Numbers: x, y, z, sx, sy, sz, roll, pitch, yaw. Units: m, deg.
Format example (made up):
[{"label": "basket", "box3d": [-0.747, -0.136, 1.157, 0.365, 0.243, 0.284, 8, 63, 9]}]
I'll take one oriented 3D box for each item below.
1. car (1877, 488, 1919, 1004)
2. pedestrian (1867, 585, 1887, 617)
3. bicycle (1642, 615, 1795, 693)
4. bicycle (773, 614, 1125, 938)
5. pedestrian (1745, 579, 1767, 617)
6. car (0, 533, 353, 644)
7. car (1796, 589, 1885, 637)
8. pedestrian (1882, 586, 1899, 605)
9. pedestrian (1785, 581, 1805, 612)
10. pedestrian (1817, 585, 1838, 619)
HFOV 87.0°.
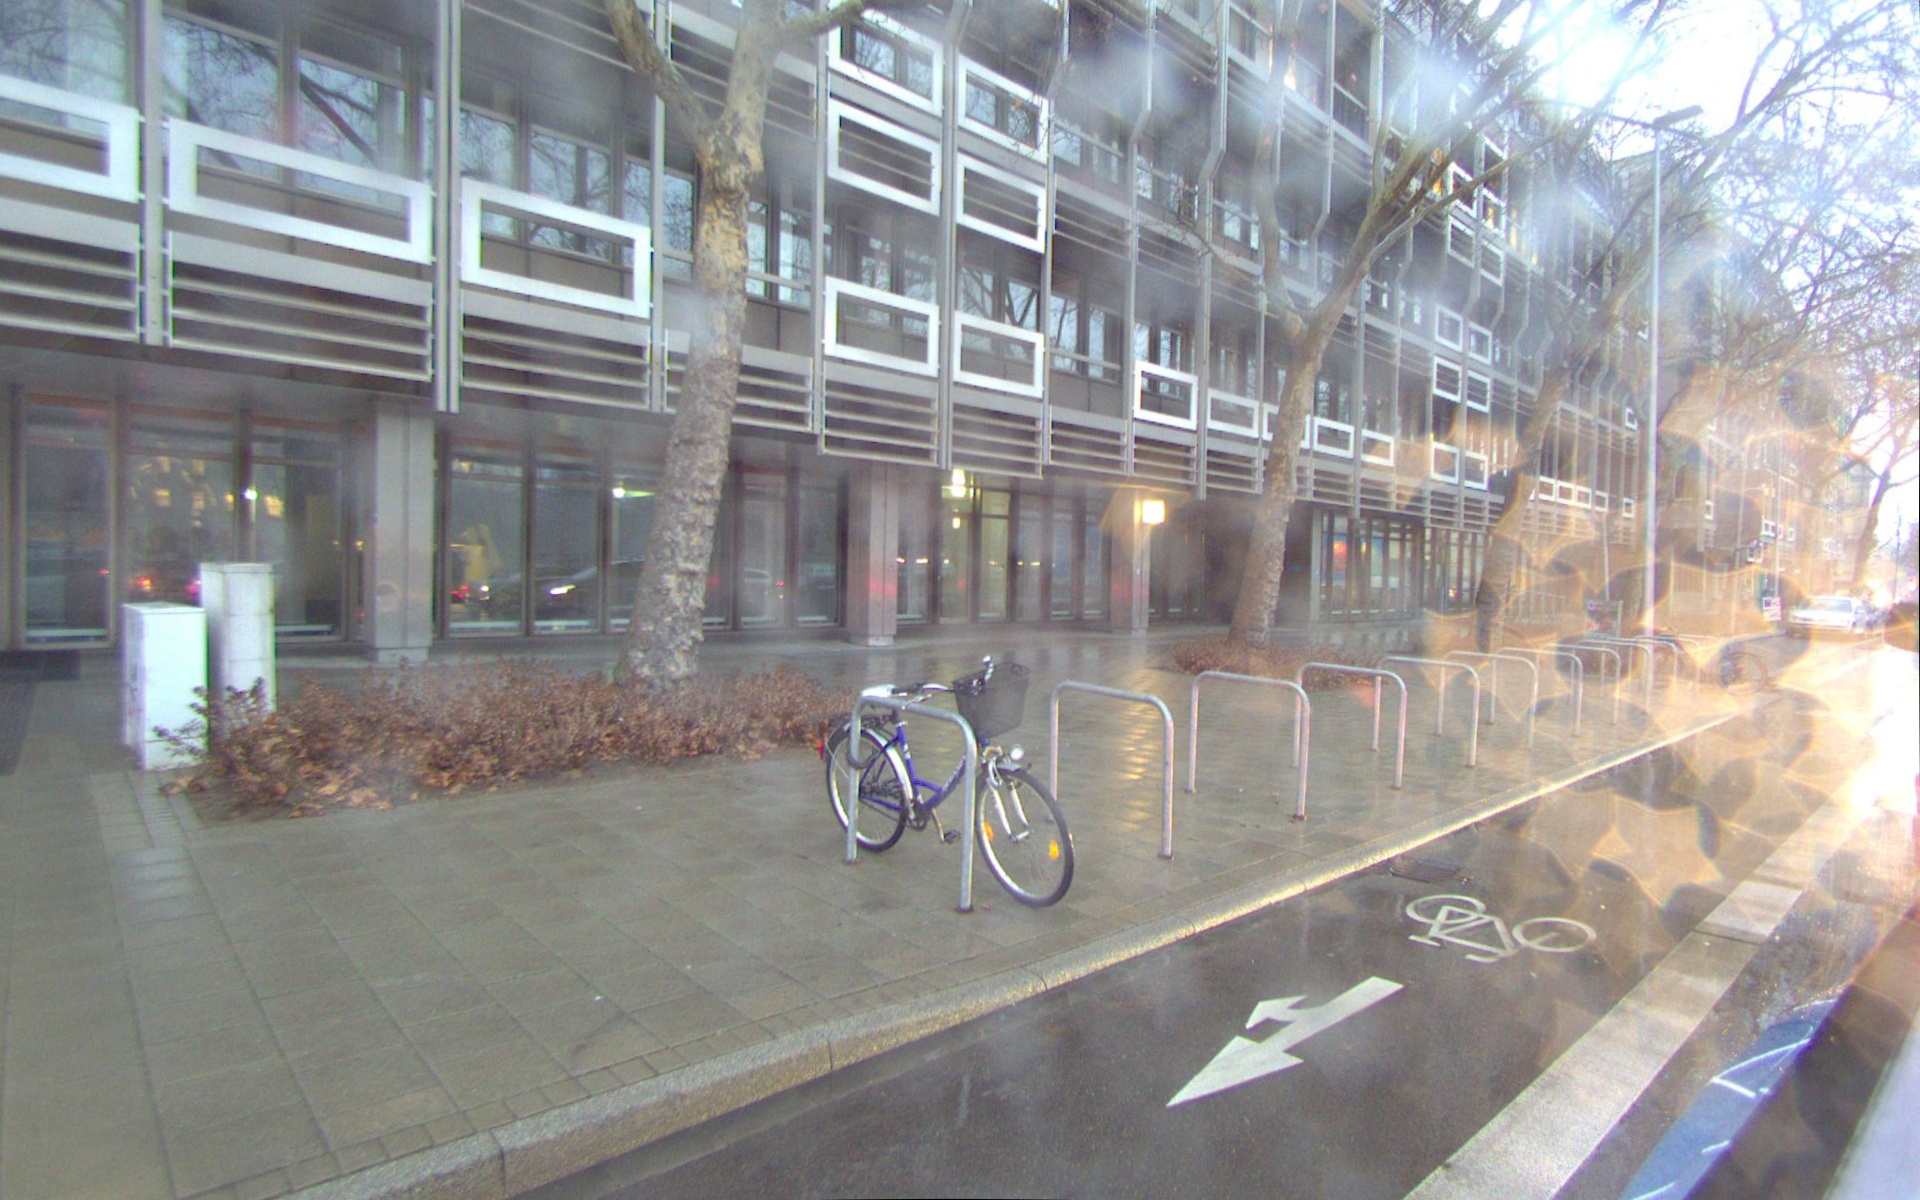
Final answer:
[{"label": "car", "box3d": [5.471, 0.509, 4.344, 3.931, 1.864, 1.876, -1, 0, -42]}, {"label": "pedestrian", "box3d": [52.046, 0.050, 57.452, 0.765, 1.771, 0.913, 2, 2, 45]}, {"label": "bicycle", "box3d": [11.657, 0.796, 15.599, 0.864, 1.004, 1.704, 0, 4, -41]}, {"label": "bicycle", "box3d": [-0.140, 0.711, 4.873, 0.629, 1.145, 1.810, 2, 2, -41]}, {"label": "pedestrian", "box3d": [42.992, -0.104, 54.659, 0.912, 2.004, 0.699, 0, 2, -41]}, {"label": "car", "box3d": [-10.795, -0.198, 13.953, 3.929, 1.326, 1.998, 0, 3, -40]}, {"label": "car", "box3d": [29.380, 0.380, 33.725, 3.930, 1.482, 1.711, -1, 1, -41]}, {"label": "pedestrian", "box3d": [65.891, -0.313, 71.656, 0.738, 1.354, 0.781, 0, 0, -41]}, {"label": "pedestrian", "box3d": [48.359, -0.206, 58.602, 0.765, 1.771, 0.913, 2, 2, 45]}, {"label": "pedestrian", "box3d": [46.713, 0.107, 54.511, 0.765, 1.771, 0.913, 2, 2, 45]}]
